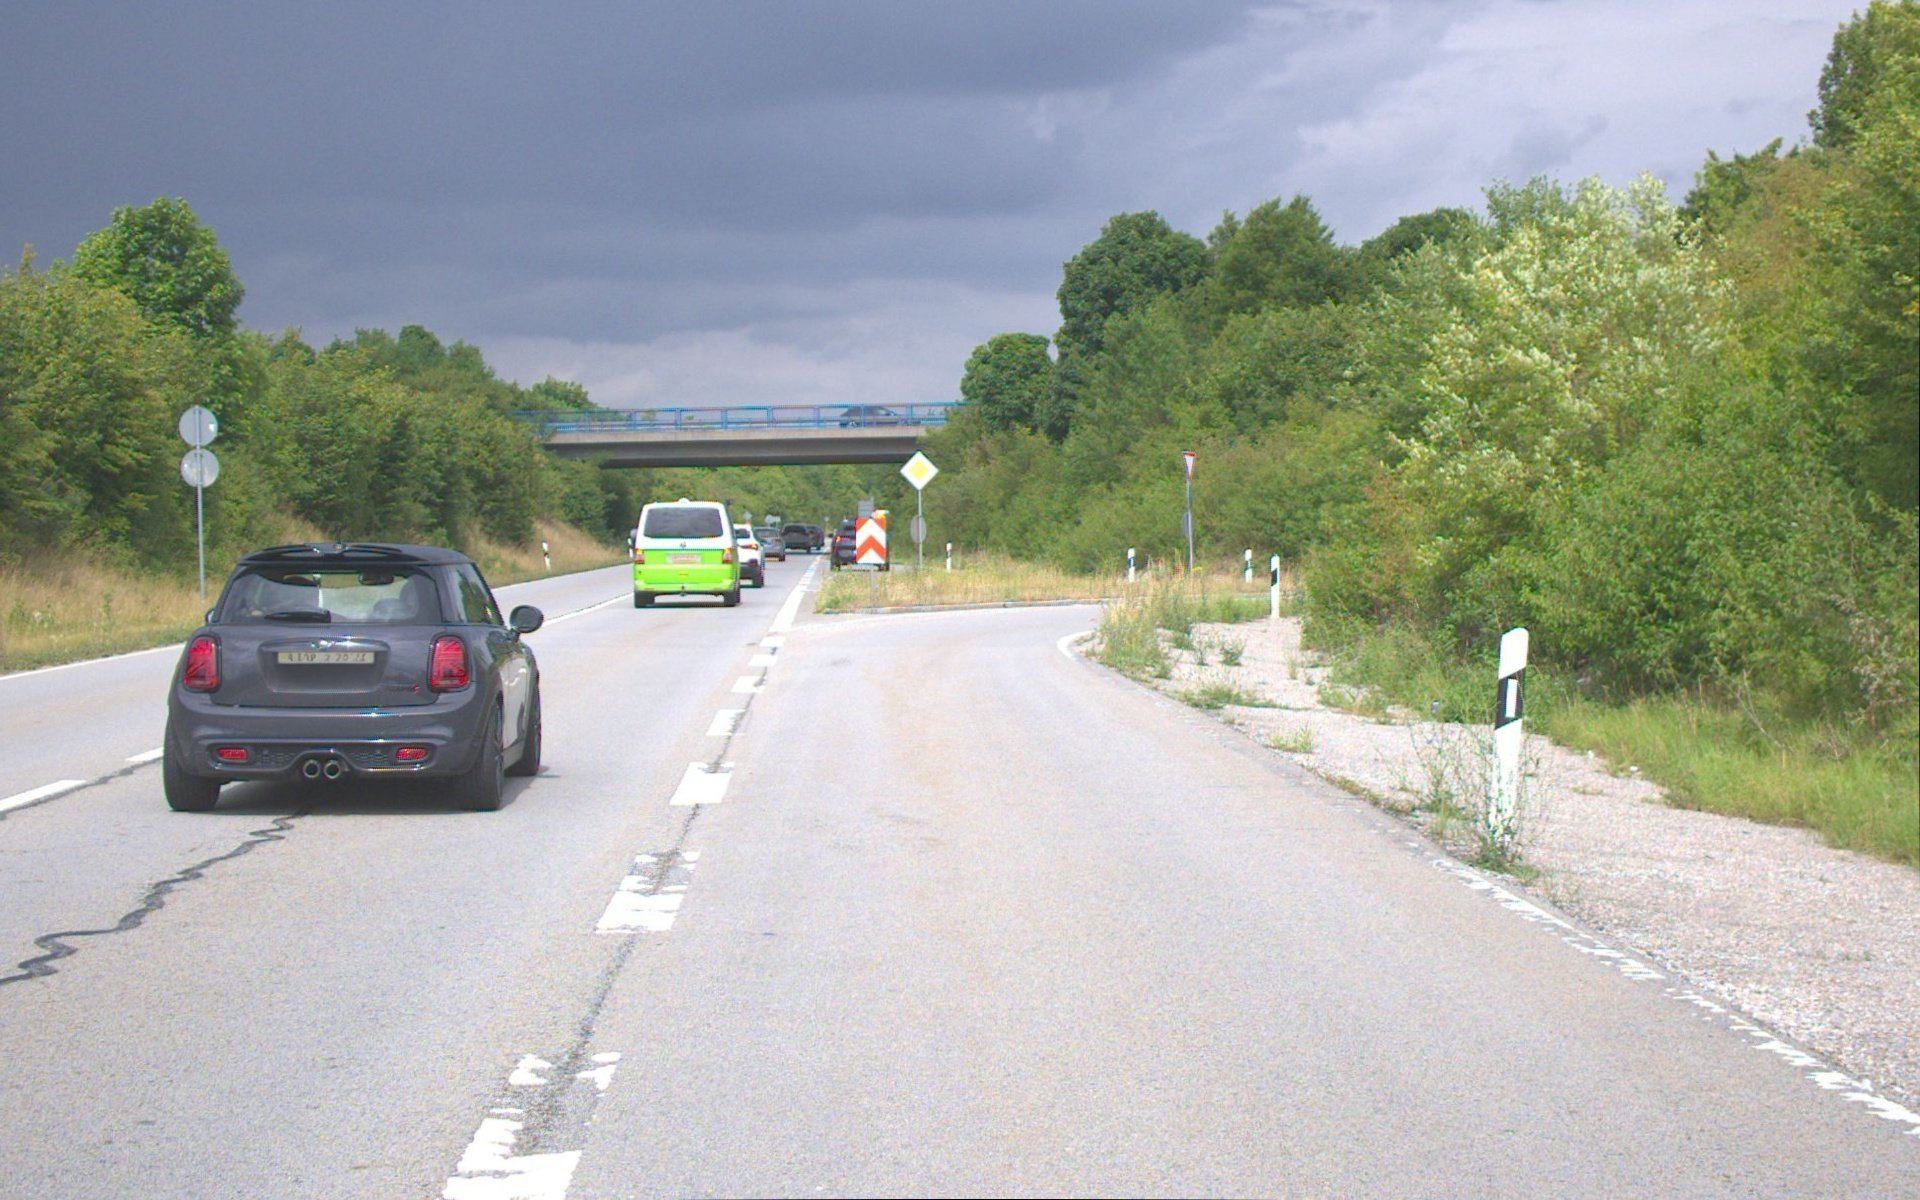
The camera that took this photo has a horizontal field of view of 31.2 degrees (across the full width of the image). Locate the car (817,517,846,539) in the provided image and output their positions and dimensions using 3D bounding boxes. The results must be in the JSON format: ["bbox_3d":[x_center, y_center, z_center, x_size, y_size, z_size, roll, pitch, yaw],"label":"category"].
[{"bbox_3d":[-8.258,-4.643,221.458,1.667,1.398,4.000,0,1,1],"label":"car"}]

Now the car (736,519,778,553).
[{"bbox_3d":[-8.577,-2.722,145.430,1.667,1.398,4.001,0,1,-2],"label":"car"}]

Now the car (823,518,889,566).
[{"bbox_3d":[-3.478,-1.944,114.326,1.993,1.546,4.001,1,1,-4],"label":"car"}]

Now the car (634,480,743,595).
[{"bbox_3d":[-5.023,-1.176,64.022,1.819,2.047,4.001,1,1,-2],"label":"car"}]

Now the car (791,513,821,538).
[{"bbox_3d":[-8.850,-4.306,198.129,1.667,1.398,4.001,0,1,-2],"label":"car"}]

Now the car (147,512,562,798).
[{"bbox_3d":[-3.288,0.231,19.352,1.756,1.422,4.001,1,1,-2],"label":"car"}]

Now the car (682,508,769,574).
[{"bbox_3d":[-5.750,-1.472,84.636,1.993,1.546,4.001,1,1,-2],"label":"car"}]
